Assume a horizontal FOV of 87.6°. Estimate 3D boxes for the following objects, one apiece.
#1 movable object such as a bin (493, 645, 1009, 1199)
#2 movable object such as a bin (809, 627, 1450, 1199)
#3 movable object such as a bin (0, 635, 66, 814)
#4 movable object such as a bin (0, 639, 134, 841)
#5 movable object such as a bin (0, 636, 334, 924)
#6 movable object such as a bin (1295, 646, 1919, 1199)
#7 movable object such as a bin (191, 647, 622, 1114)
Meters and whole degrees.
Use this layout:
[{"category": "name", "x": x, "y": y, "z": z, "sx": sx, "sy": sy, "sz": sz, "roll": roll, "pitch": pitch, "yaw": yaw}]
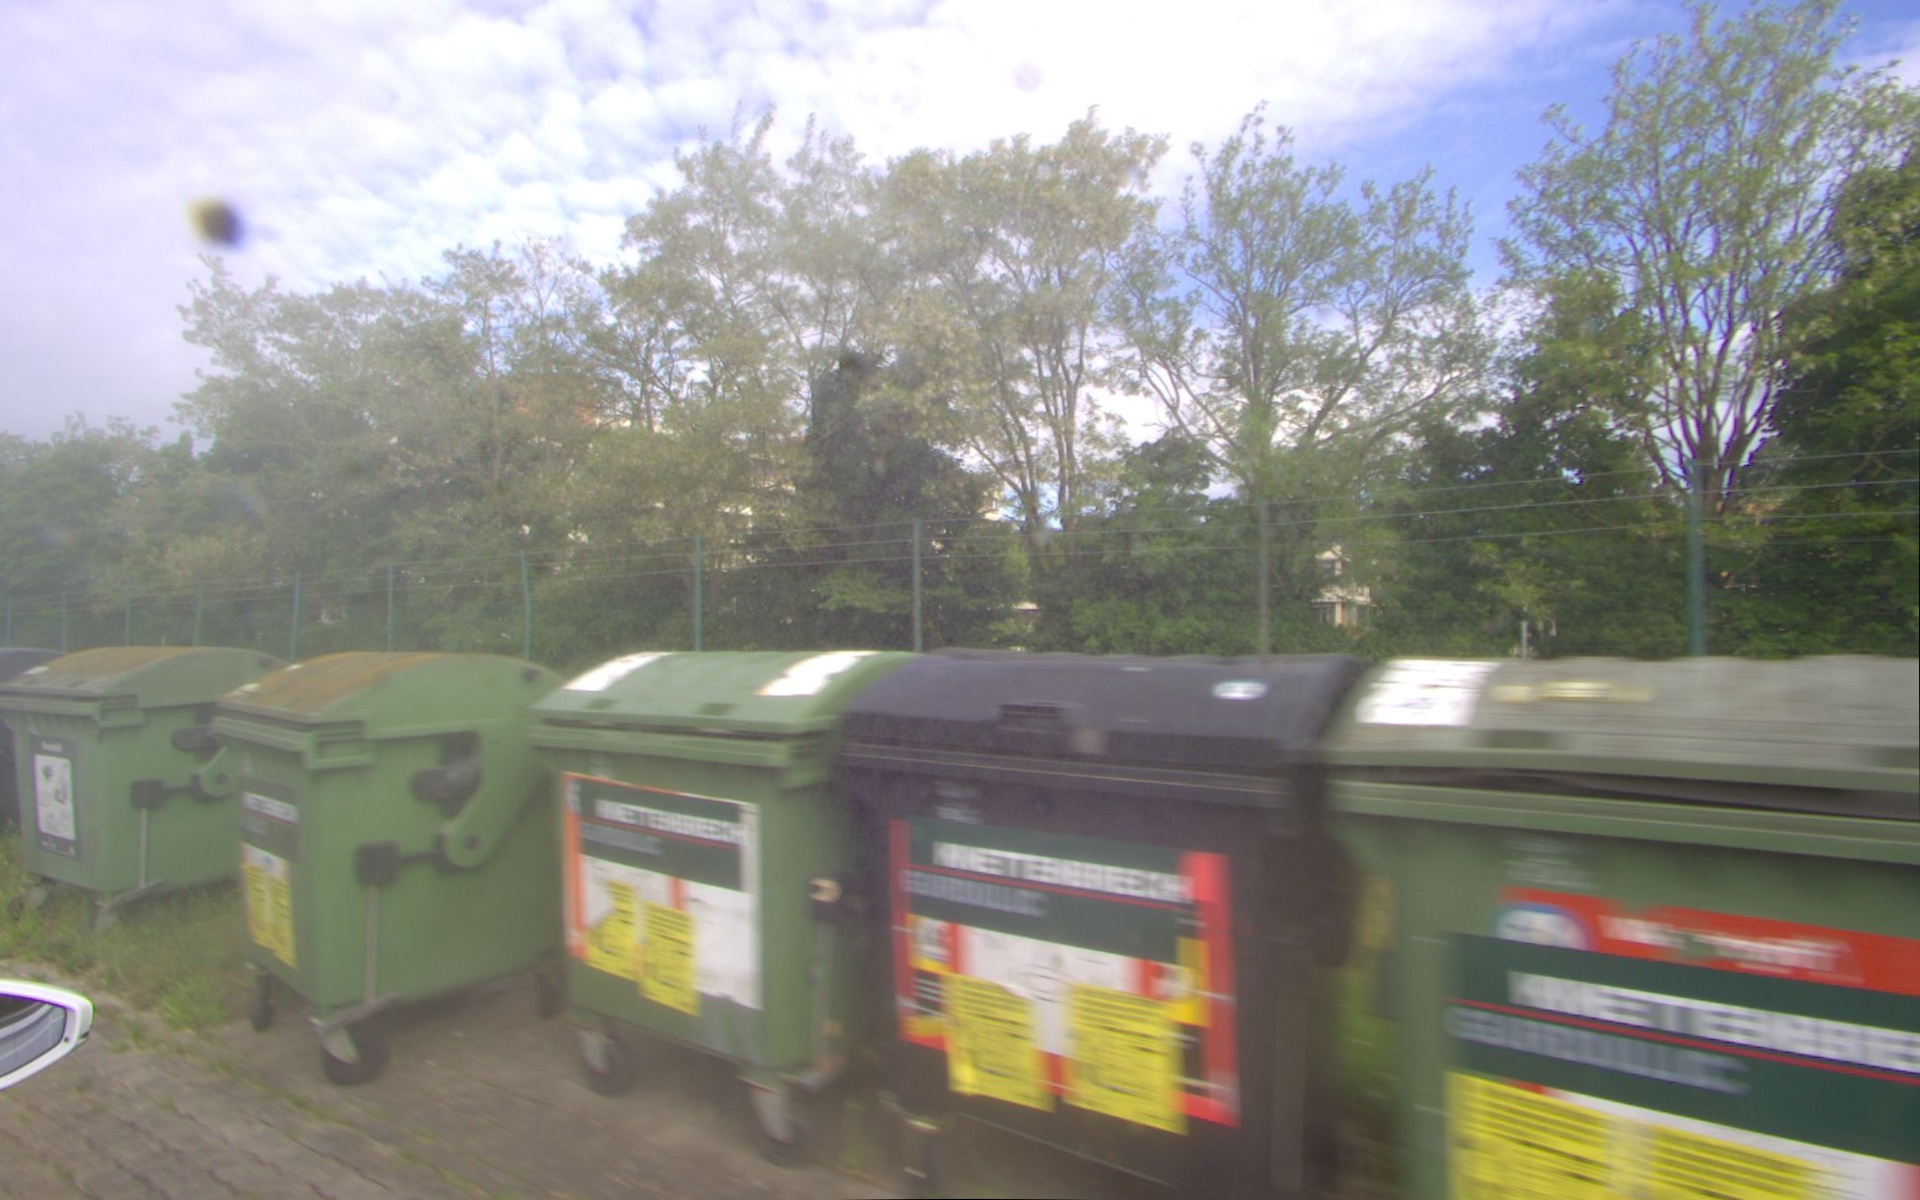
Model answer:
[{"category": "movable object such as a bin", "x": -0.697, "y": 0.871, "z": 3.391, "sx": 1.367, "sy": 1.423, "sz": 1.067, "roll": -2, "pitch": -3, "yaw": 35}, {"category": "movable object such as a bin", "x": 0.464, "y": 0.819, "z": 2.701, "sx": 1.380, "sy": 1.453, "sz": 1.067, "roll": -2, "pitch": -3, "yaw": 35}, {"category": "movable object such as a bin", "x": -8.168, "y": 0.987, "z": 8.115, "sx": 1.475, "sy": 1.391, "sz": 1.119, "roll": -2, "pitch": -3, "yaw": 38}, {"category": "movable object such as a bin", "x": -6.894, "y": 0.960, "z": 7.212, "sx": 1.475, "sy": 1.341, "sz": 1.150, "roll": -2, "pitch": -3, "yaw": 38}, {"category": "movable object such as a bin", "x": -4.341, "y": 0.864, "z": 5.423, "sx": 1.360, "sy": 1.312, "sz": 1.121, "roll": -2, "pitch": -2, "yaw": 31}, {"category": "movable object such as a bin", "x": 1.540, "y": 0.802, "z": 1.968, "sx": 1.341, "sy": 1.413, "sz": 1.123, "roll": -2, "pitch": -3, "yaw": 41}, {"category": "movable object such as a bin", "x": -2.190, "y": 0.901, "z": 3.951, "sx": 1.370, "sy": 1.415, "sz": 1.117, "roll": -2, "pitch": -3, "yaw": 43}]
